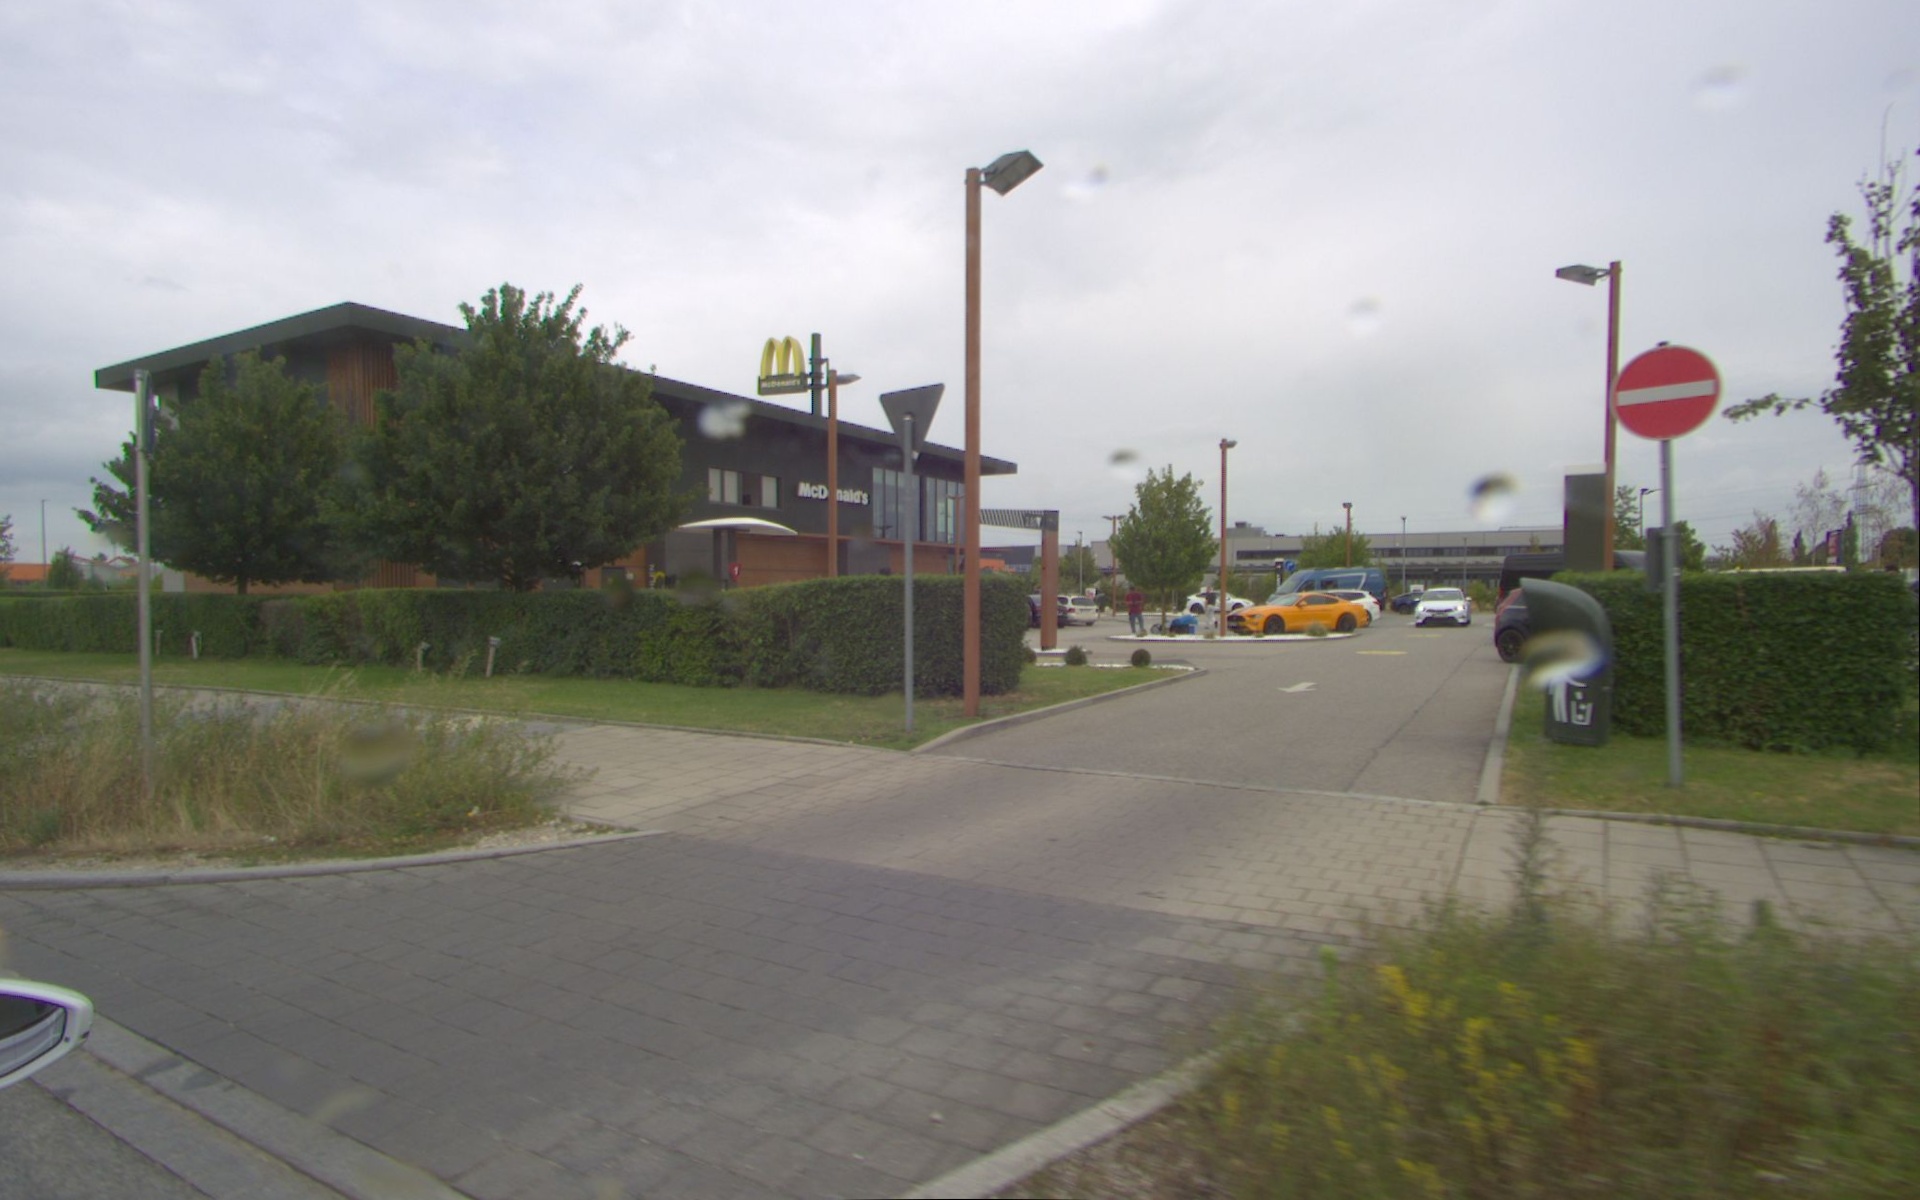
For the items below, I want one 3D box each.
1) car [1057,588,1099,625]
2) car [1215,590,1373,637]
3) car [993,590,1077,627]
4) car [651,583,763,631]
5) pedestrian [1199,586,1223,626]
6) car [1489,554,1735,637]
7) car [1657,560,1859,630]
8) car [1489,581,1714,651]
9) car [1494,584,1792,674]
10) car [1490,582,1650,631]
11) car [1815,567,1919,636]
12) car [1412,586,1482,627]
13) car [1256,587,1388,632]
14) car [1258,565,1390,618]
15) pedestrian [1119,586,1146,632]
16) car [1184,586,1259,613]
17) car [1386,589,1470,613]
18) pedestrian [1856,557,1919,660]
[{"bbox_3d":[5.795,0.329,49.235,1.961,1.745,3.999,0,0,7],"label":"car"},{"bbox_3d":[10.926,0.412,32.817,4.650,1.463,1.996,0,0,-18],"label":"car"},{"bbox_3d":[3.388,0.376,45.762,1.971,1.602,3.980,0,0,-29],"label":"car"},{"bbox_3d":[-9.642,0.278,38.392,1.970,1.739,3.982,0,0,30],"label":"car"},{"bbox_3d":[10.388,0.245,41.444,0.673,1.649,0.739,0,0,-22],"label":"pedestrian"},{"bbox_3d":[22.055,-0.169,34.450,2.241,2.535,7.311,0,1,-18],"label":"car"},{"bbox_3d":[29.437,-0.191,37.081,5.632,2.383,2.512,0,1,45],"label":"car"},{"bbox_3d":[14.589,0.316,23.080,1.970,1.449,4.148,0,1,-14],"label":"car"},{"bbox_3d":[11.328,0.407,16.931,1.786,1.330,3.838,0,1,-21],"label":"car"},{"bbox_3d":[19.530,0.194,32.275,1.922,1.463,4.210,-1,0,-17],"label":"car"},{"bbox_3d":[26.068,-0.007,27.474,4.300,1.726,2.002,-2,1,-17],"label":"car"},{"bbox_3d":[18.705,0.224,38.383,1.928,1.463,4.195,0,0,33],"label":"car"},{"bbox_3d":[14.132,0.356,39.098,4.652,1.679,1.995,-1,1,-20],"label":"car"},{"bbox_3d":[18.423,-0.437,50.789,5.934,2.563,2.279,0,1,-11],"label":"car"},{"bbox_3d":[5.605,0.294,32.602,0.755,1.458,0.624,0,1,-1],"label":"pedestrian"},{"bbox_3d":[18.024,-0.023,69.065,4.691,1.803,1.947,0,1,29],"label":"car"},{"bbox_3d":[29.129,0.048,62.342,4.580,1.463,1.945,0,0,32],"label":"car"},{"bbox_3d":[16.766,0.156,18.034,0.785,1.829,0.471,0,1,8],"label":"pedestrian"}]
